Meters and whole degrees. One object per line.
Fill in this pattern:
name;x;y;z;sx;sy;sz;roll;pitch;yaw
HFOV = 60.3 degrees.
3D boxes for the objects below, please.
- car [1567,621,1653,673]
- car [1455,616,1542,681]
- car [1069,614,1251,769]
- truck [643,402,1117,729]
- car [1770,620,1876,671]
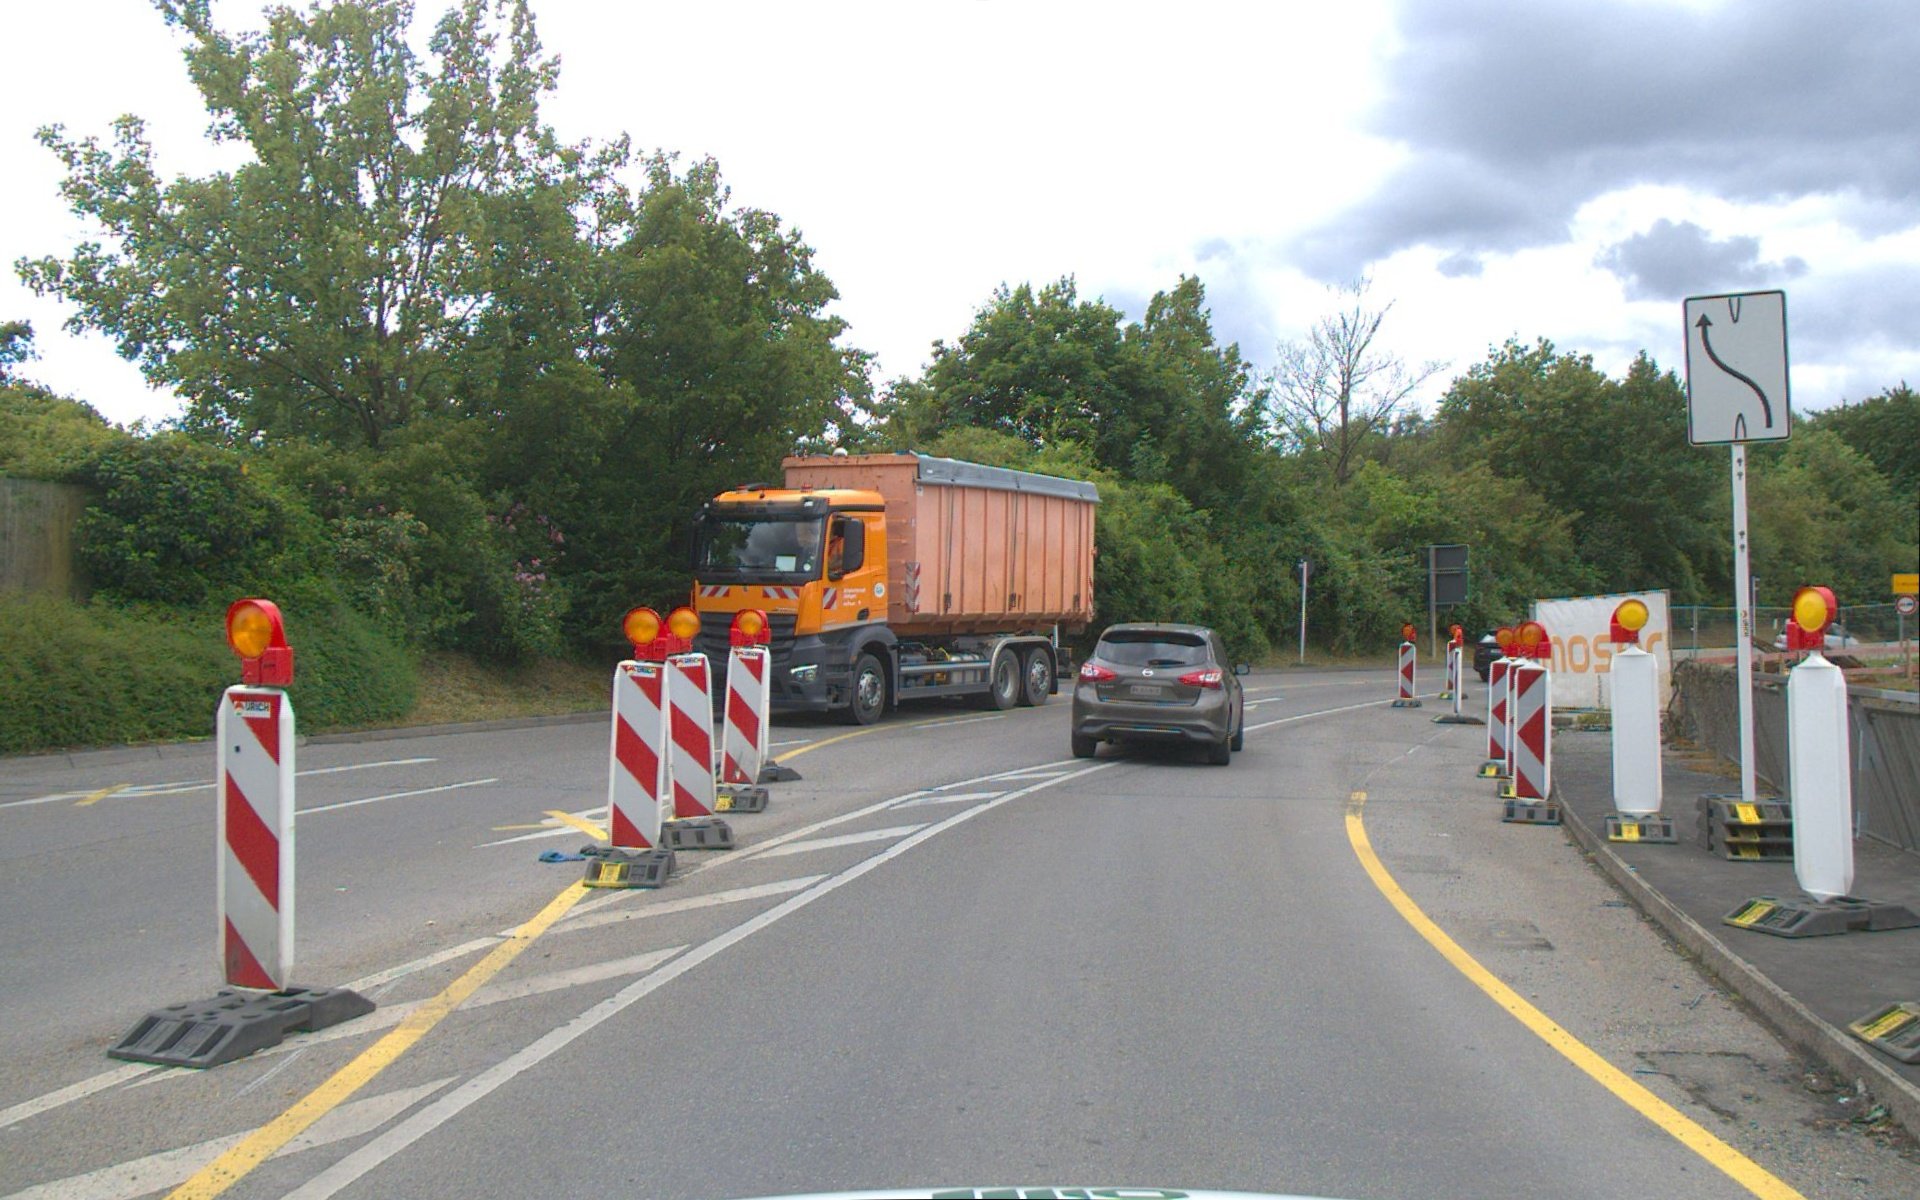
car;21.063;1.496;53.514;1.605;1.572;4.335;1;-1;35
car;14.427;1.257;44.206;1.783;1.579;3.786;1;0;24
car;2.459;0.990;19.533;1.759;1.579;4.003;1;-1;12
truck;-0.770;-0.414;26.725;3.051;4.295;9.778;0;-1;28
car;29.948;1.563;57.360;3.955;1.704;1.695;1;-2;-36
